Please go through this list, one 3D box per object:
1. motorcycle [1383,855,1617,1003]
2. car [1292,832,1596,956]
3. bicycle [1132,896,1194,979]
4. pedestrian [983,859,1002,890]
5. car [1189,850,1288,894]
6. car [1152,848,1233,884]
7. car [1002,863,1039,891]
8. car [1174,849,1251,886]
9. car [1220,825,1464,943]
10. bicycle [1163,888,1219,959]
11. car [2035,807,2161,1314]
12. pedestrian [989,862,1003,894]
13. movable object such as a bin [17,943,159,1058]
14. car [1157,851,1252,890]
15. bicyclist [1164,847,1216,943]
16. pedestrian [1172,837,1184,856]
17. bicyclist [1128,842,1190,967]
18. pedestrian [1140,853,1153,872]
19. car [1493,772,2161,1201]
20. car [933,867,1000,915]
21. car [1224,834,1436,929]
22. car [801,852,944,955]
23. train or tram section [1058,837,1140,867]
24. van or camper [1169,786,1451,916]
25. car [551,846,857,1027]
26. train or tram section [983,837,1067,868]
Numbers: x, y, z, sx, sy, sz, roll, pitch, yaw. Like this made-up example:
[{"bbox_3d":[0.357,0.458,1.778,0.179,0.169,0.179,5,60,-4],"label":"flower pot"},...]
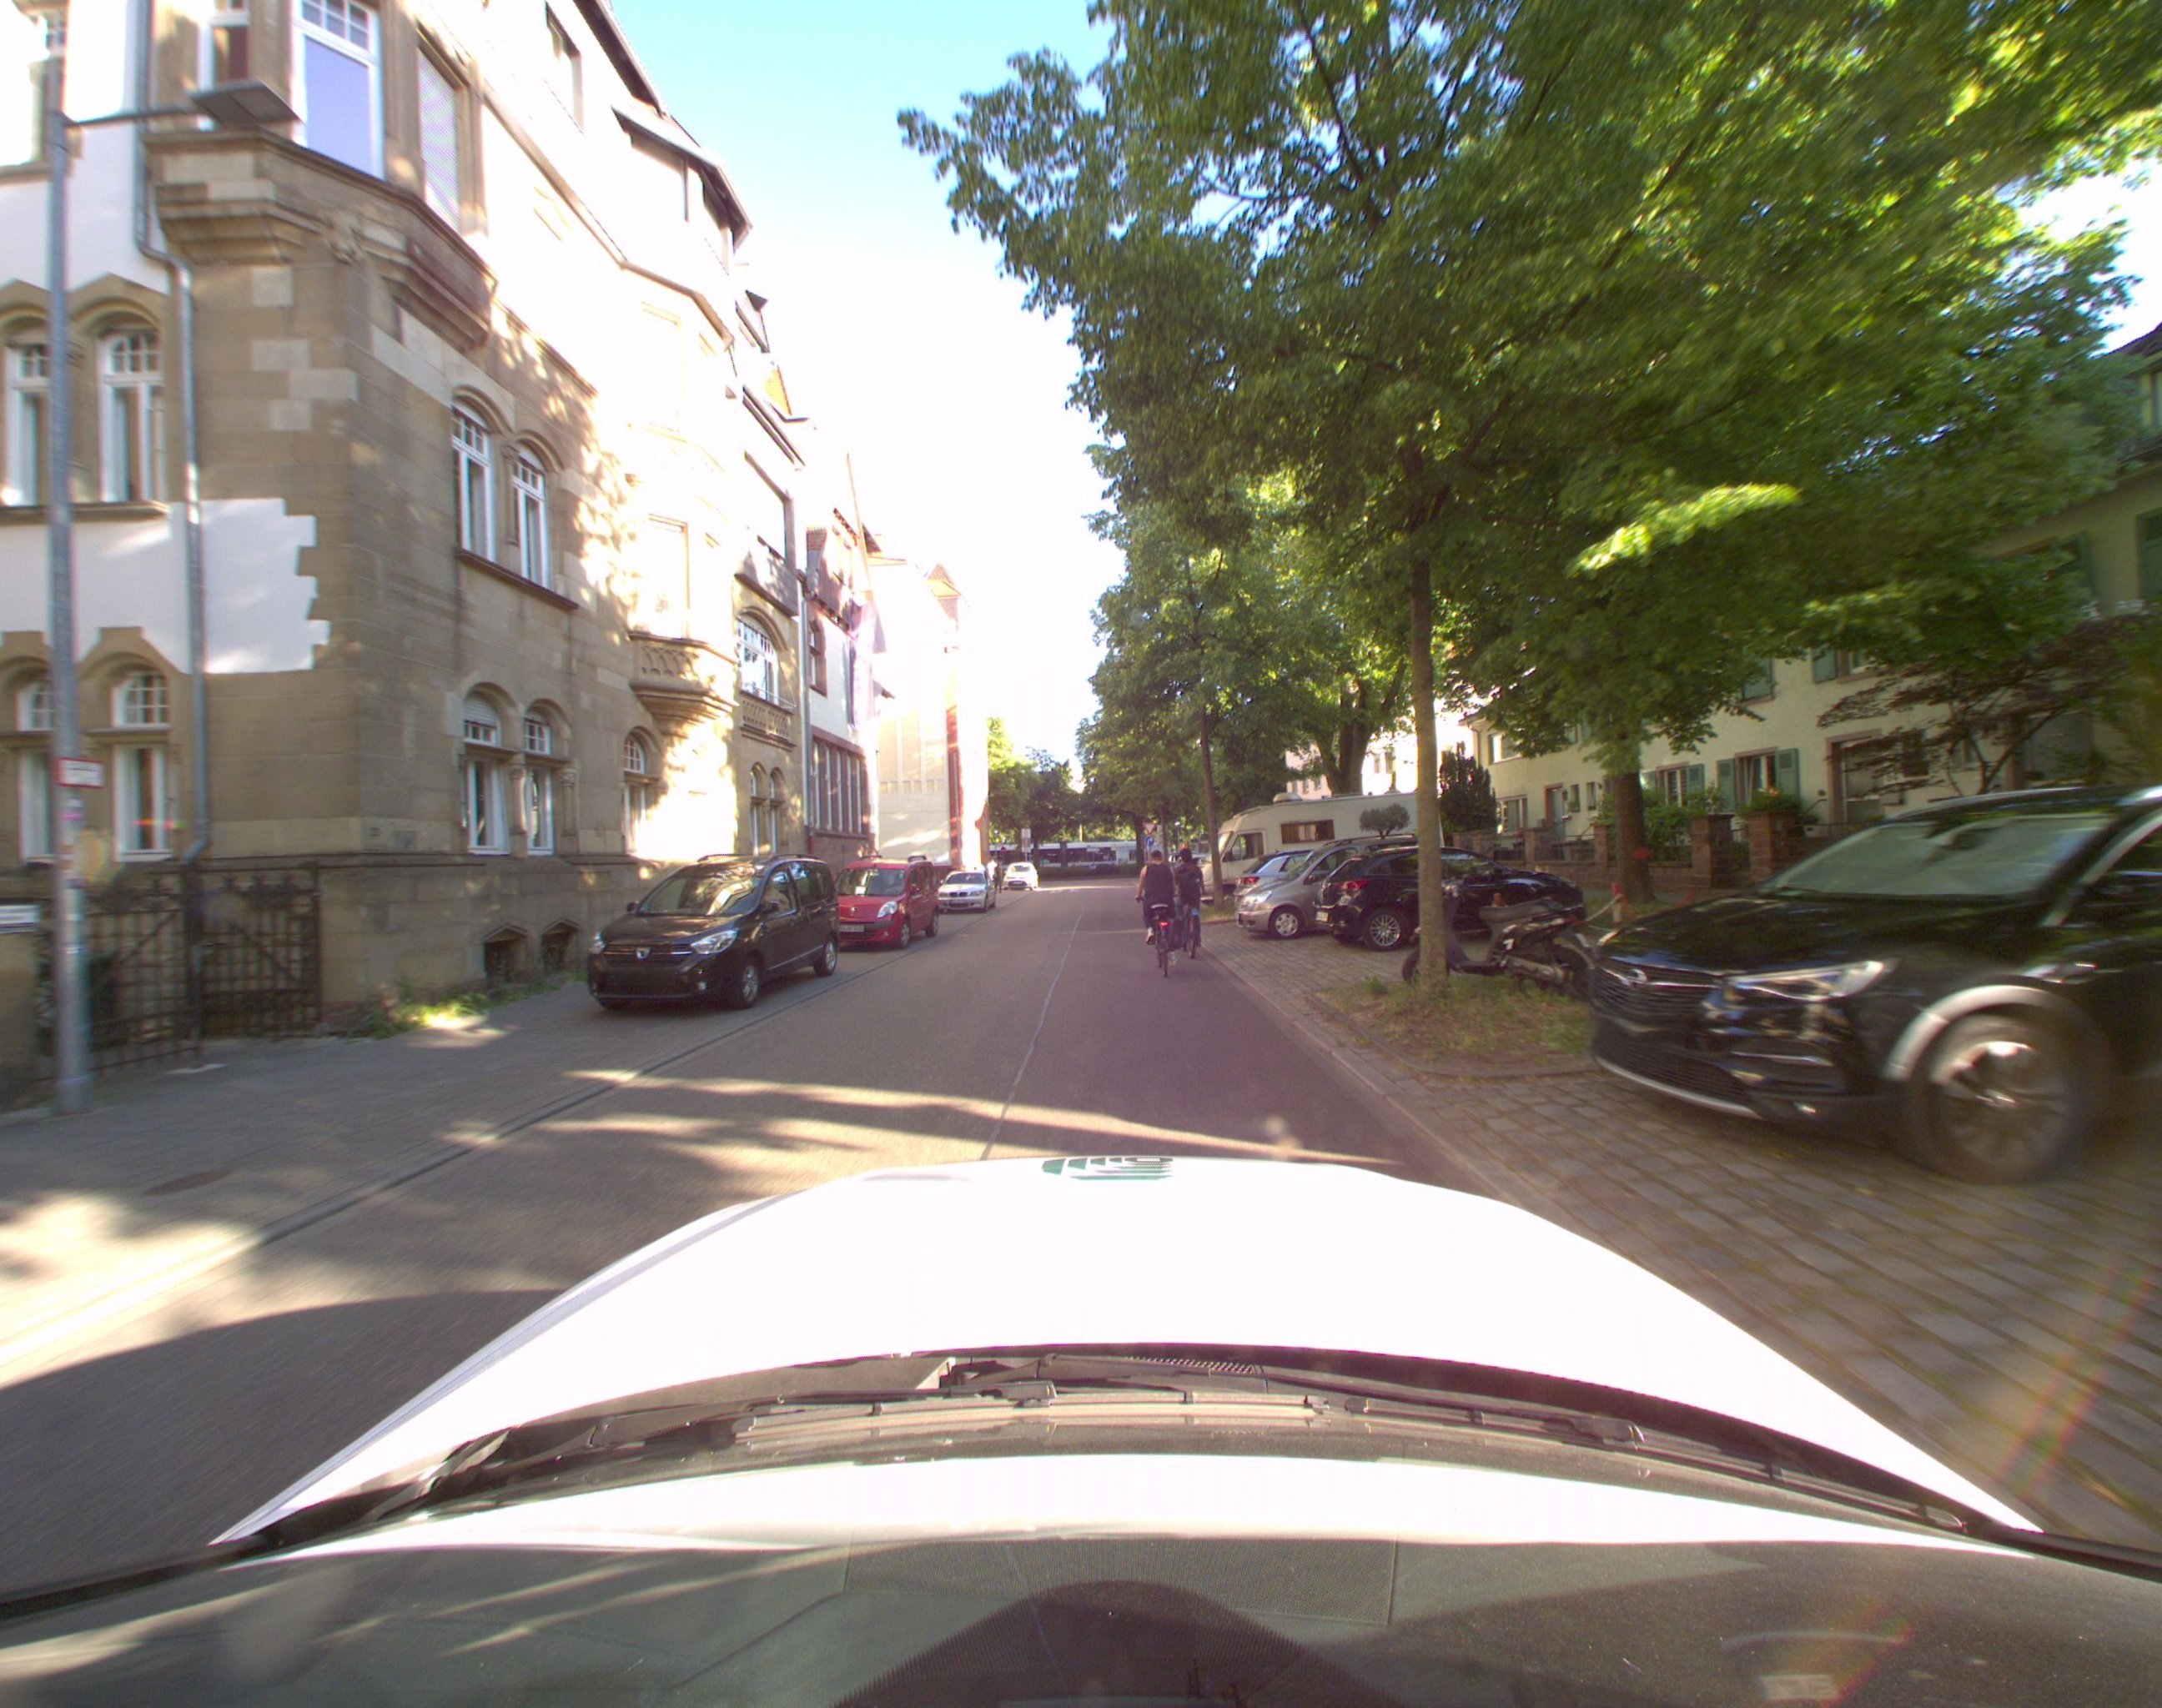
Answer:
[{"bbox_3d":[3.863,0.655,7.628,0.742,1.197,1.755,-2,-1,-42],"label":"motorcycle"},{"bbox_3d":[5.505,0.588,12.672,3.868,1.473,1.785,-4,-1,-4],"label":"car"},{"bbox_3d":[1.127,1.137,11.606,0.735,1.012,2.062,0,-1,2],"label":"bicycle"},{"bbox_3d":[-4.812,1.110,44.169,0.864,1.643,0.861,-2,-1,1],"label":"pedestrian"},{"bbox_3d":[6.303,0.698,32.856,3.578,1.505,1.677,-4,0,-1],"label":"car"},{"bbox_3d":[6.140,0.653,45.305,4.097,1.712,2.022,-4,0,-3],"label":"car"},{"bbox_3d":[-3.376,1.284,45.972,1.698,1.485,3.799,0,0,2],"label":"car"},{"bbox_3d":[6.555,0.683,40.888,3.675,1.651,1.706,-3,-1,5],"label":"car"},{"bbox_3d":[4.749,0.540,15.250,3.900,1.744,1.729,-5,-1,1],"label":"car"},{"bbox_3d":[1.836,1.134,13.813,0.671,1.054,2.061,-2,-2,1],"label":"bicycle"},{"bbox_3d":[4.808,0.487,1.742,3.435,1.475,1.694,-4,-1,1],"label":"car"},{"bbox_3d":[-4.279,1.206,41.208,0.599,1.605,0.853,-3,-1,-5],"label":"pedestrian"},{"bbox_3d":[-9.443,1.376,7.766,0.525,0.960,0.654,-3,-1,3],"label":"movable object such as a bin"},{"bbox_3d":[5.714,0.768,38.042,4.090,1.411,1.793,-5,-1,1],"label":"car"},{"bbox_3d":[1.811,0.669,13.664,0.669,1.514,1.069,-3,-2,1],"label":"bicyclist"},{"bbox_3d":[8.951,-0.676,75.024,0.909,1.684,0.782,-3,-1,11],"label":"pedestrian"},{"bbox_3d":[1.103,0.693,11.635,0.749,1.682,0.913,-3,-1,1],"label":"bicyclist"},{"bbox_3d":[6.780,0.846,84.096,1.020,1.897,0.906,-2,-1,-20],"label":"pedestrian"},{"bbox_3d":[4.854,0.461,4.285,4.319,1.608,1.928,-4,-1,0],"label":"car"},{"bbox_3d":[-3.894,1.238,28.347,1.738,1.466,4.102,-2,0,0],"label":"car"},{"bbox_3d":[5.251,0.585,17.633,3.945,1.598,1.905,-5,-2,4],"label":"car"},{"bbox_3d":[-4.289,0.948,17.463,1.791,1.907,4.326,-1,-1,2],"label":"car"},{"bbox_3d":[1.990,-0.215,88.617,8.448,3.201,2.841,0,-1,-21],"label":"train or tram section"},{"bbox_3d":[6.161,-0.077,22.642,7.056,3.077,2.463,-3,-1,-1],"label":"van or camper"},{"bbox_3d":[-4.566,0.873,10.768,1.763,1.852,4.543,-1,0,2],"label":"car"},{"bbox_3d":[-5.884,-0.183,85.534,8.448,3.177,2.841,0,-1,-21],"label":"train or tram section"}]
